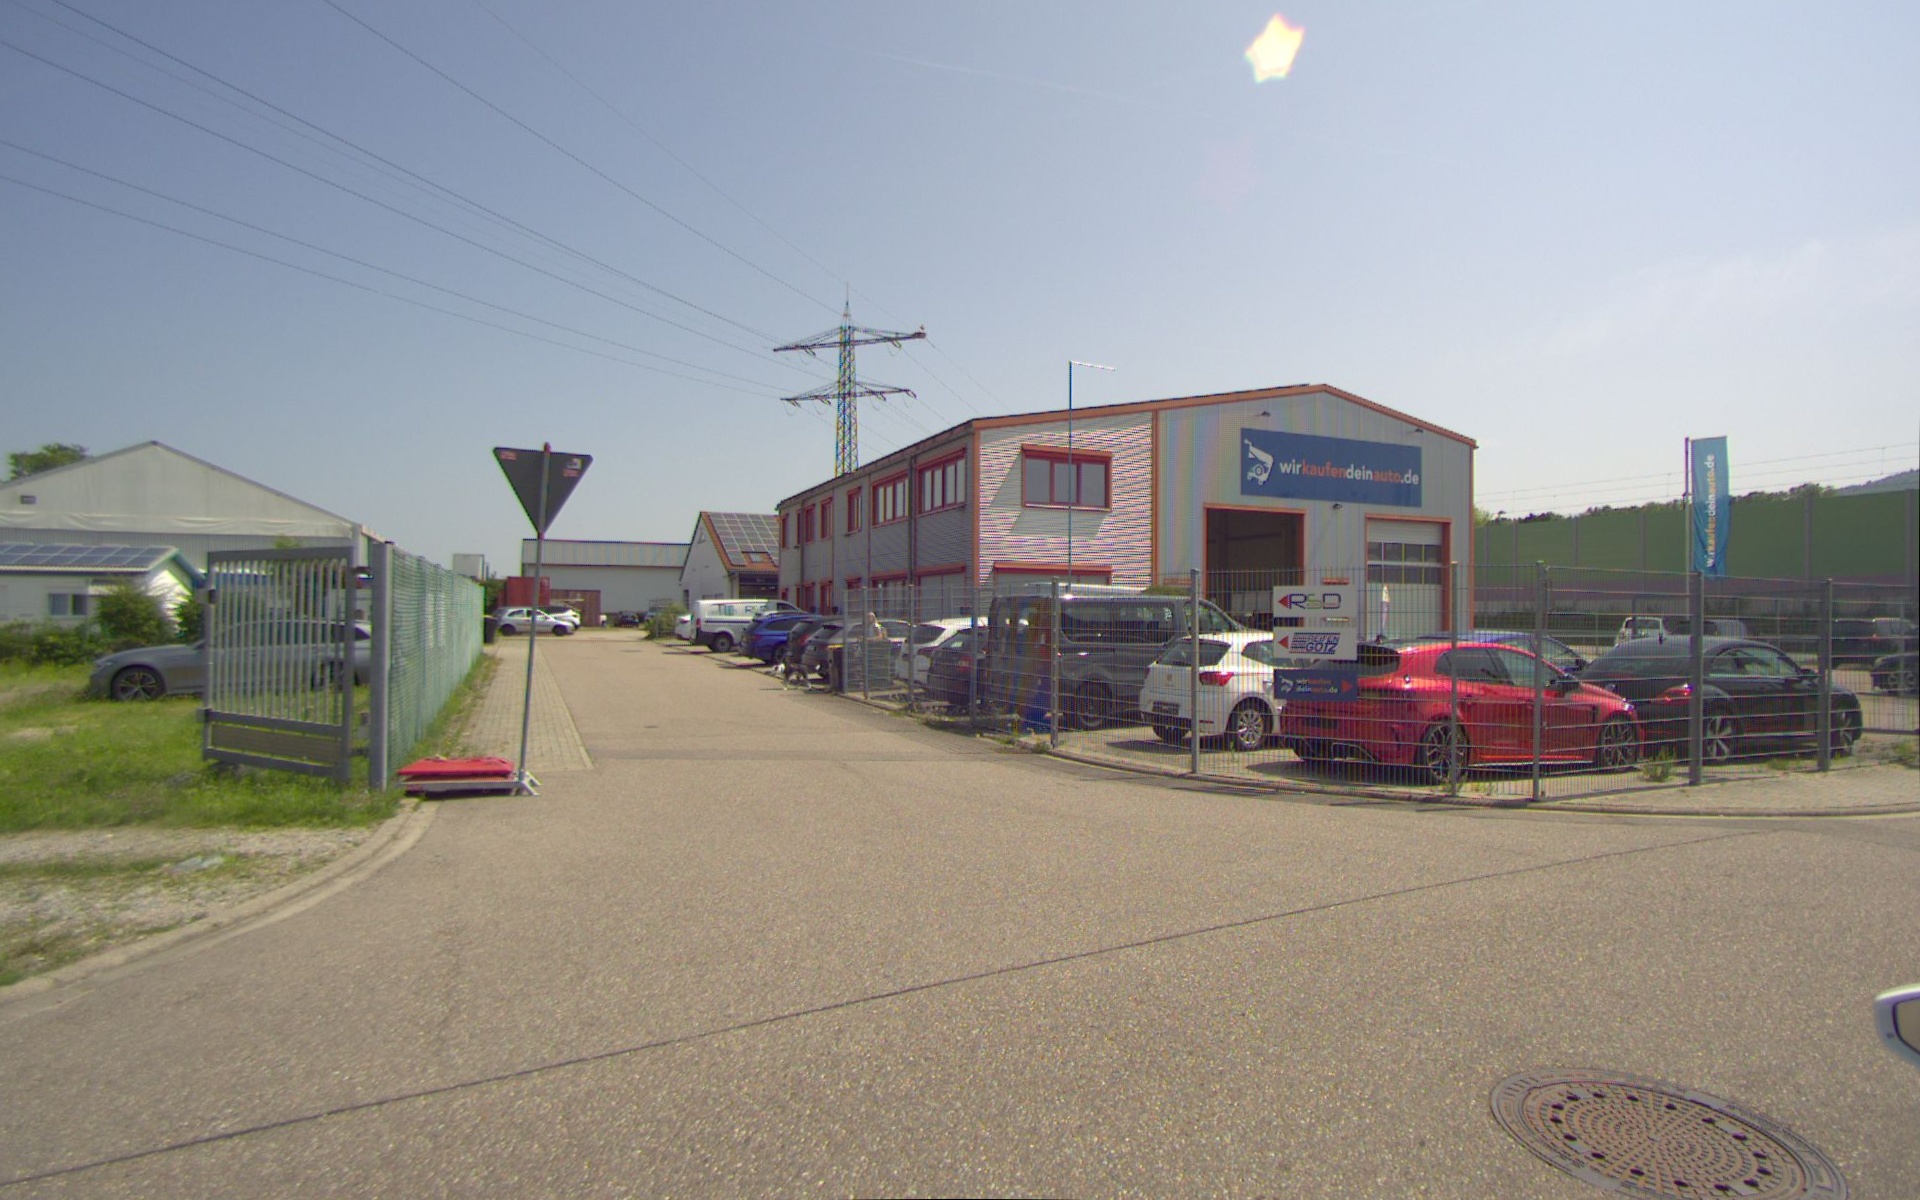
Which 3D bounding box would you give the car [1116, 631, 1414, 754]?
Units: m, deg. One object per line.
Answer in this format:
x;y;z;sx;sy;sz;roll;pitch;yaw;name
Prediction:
4.038;1.133;13.337;3.554;1.423;1.741;1;-1;-25;car

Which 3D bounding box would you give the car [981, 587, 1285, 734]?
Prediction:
2.754;0.895;15.917;4.455;2.057;1.945;1;-1;-25;car

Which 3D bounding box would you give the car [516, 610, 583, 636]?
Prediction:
-22.430;1.254;54.857;3.291;1.359;1.655;1;-1;-27;car

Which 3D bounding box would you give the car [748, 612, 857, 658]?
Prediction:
-5.570;1.223;35.513;3.554;1.564;1.499;1;-1;-25;car

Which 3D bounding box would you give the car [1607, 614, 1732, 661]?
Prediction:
25.197;1.310;35.675;3.947;1.603;1.987;1;-1;-26;car

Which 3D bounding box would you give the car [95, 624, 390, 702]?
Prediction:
-12.587;1.077;17.913;4.085;1.277;1.228;1;-1;-25;car

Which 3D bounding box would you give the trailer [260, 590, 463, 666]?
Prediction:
-16.214;0.766;27.415;4.381;1.971;1.712;0;-1;-9;trailer

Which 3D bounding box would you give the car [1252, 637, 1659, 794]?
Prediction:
5.403;1.122;10.955;4.057;1.405;1.864;1;-1;-25;car

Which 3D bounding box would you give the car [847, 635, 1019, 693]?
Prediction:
-0.594;1.388;22.395;3.554;1.167;1.499;1;-1;-25;car

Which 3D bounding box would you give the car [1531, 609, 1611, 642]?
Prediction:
32.238;1.342;53.002;3.943;1.679;1.695;1;-1;-23;car

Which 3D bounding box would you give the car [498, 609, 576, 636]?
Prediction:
-21.947;1.188;52.156;3.633;1.359;1.657;1;-1;-25;car

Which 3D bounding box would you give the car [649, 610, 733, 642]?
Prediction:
-13.338;1.295;49.904;3.853;1.580;1.499;1;-1;-25;car

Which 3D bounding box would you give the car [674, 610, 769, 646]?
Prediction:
-10.439;1.218;43.993;3.853;1.536;1.499;1;-1;-25;car

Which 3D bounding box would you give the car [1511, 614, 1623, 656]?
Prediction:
23.930;1.364;39.602;3.947;1.603;1.987;1;-1;-26;car

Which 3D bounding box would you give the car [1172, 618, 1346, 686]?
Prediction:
6.908;1.158;23.139;3.840;1.473;1.479;1;-1;-25;car

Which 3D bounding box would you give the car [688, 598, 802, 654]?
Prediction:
-7.995;0.959;37.280;3.853;2.005;1.813;1;-1;-25;car

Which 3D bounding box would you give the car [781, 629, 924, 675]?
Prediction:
-2.891;1.368;27.025;3.554;1.167;1.499;1;-1;-25;car

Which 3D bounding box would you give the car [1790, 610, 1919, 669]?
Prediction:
26.585;1.129;29.476;3.947;1.603;1.987;1;-1;-26;car

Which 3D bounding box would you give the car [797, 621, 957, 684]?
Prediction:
-1.977;1.220;24.102;3.554;1.399;1.499;1;-1;-25;car

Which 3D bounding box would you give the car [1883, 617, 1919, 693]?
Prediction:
20.642;1.090;19.203;1.970;1.512;3.982;1;-1;-20;car

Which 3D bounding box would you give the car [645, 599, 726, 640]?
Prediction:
-14.136;1.028;51.779;3.853;2.040;1.499;1;-1;-25;car

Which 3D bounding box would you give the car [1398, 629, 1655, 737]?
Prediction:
8.696;1.191;15.401;3.840;1.473;1.479;1;-1;-25;car

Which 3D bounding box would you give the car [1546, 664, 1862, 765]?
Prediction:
9.518;1.380;12.812;4.057;1.020;1.479;1;-1;-25;car

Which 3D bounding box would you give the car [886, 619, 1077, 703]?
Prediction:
0.434;1.179;20.181;3.554;1.560;1.499;1;-1;-25;car

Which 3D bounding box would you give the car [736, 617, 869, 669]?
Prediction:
-4.586;1.223;29.286;3.554;1.435;1.499;1;-1;-25;car

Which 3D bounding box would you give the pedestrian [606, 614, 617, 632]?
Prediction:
-31.346;2.030;90.372;0.830;1.621;0.473;0;-1;-12;pedestrian

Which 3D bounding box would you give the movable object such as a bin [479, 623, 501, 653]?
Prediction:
-18.528;1.489;39.606;0.739;1.149;0.933;1;-1;-29;movable object such as a bin
